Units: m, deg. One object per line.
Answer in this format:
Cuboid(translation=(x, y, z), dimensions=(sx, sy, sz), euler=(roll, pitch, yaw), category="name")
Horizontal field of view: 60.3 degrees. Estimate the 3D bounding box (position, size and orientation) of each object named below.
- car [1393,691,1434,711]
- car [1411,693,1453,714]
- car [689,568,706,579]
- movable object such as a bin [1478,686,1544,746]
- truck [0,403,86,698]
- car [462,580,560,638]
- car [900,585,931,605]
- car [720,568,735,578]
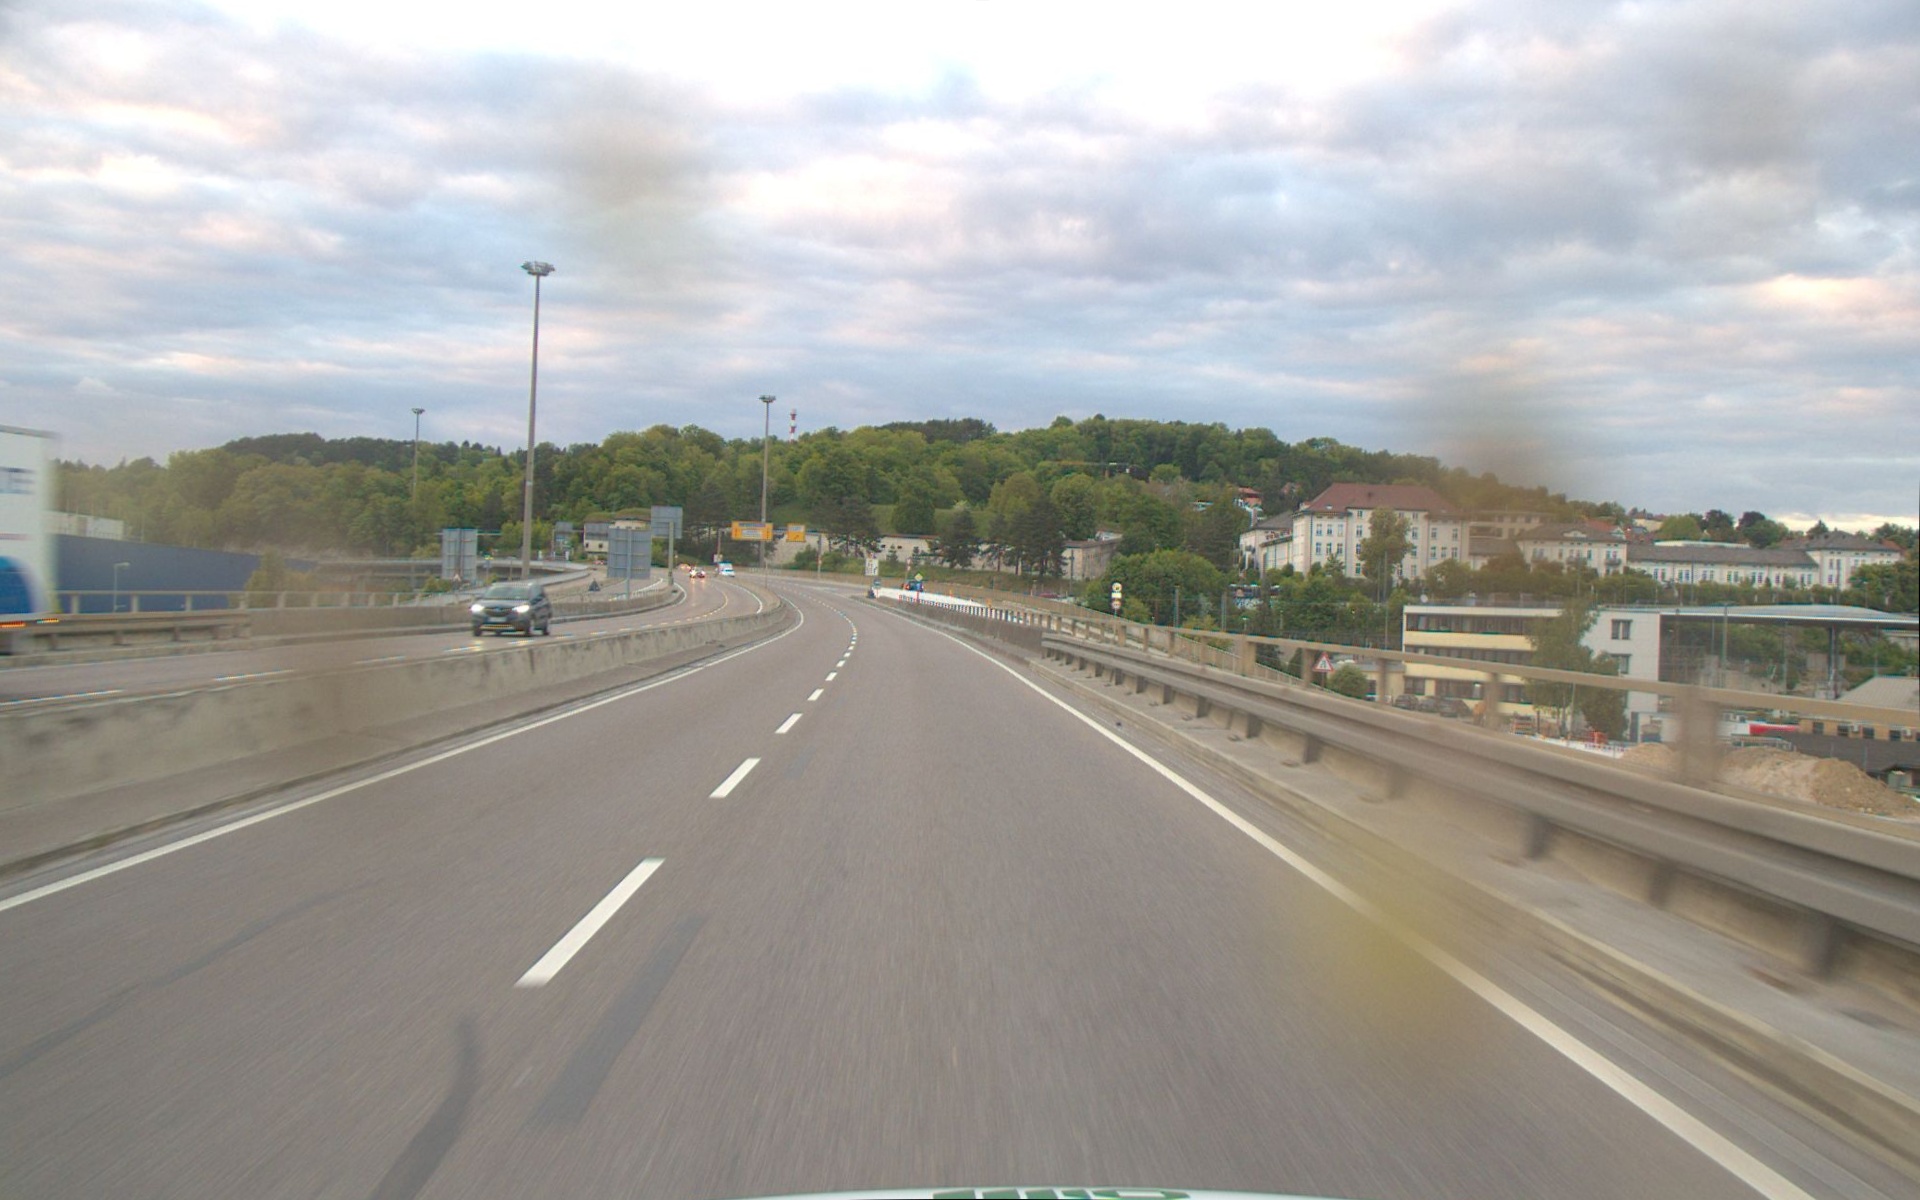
Cuboid(translation=(44.907, 10.030, 163.826), dimensions=(3.958, 1.592, 1.809), euler=(6, 2, -37), category="car")
Cuboid(translation=(45.857, 10.043, 160.727), dimensions=(3.958, 1.592, 1.809), euler=(6, 2, -37), category="car")
Cuboid(translation=(-36.161, -3.641, 227.815), dimensions=(1.799, 1.506, 4.269), euler=(1, 0, -15), category="car")
Cuboid(translation=(47.830, 10.047, 143.601), dimensions=(2.731, 4.382, 4.938), euler=(8, -1, -15), category="movable object such as a bin")
Cuboid(translation=(-12.141, -0.584, 16.878), dimensions=(2.483, 3.354, 7.445), euler=(1, 0, -1), category="truck")
Cuboid(translation=(-13.325, 0.258, 49.306), dimensions=(1.938, 1.634, 4.438), euler=(1, 0, -4), category="car")
Cuboid(translation=(-4.522, -0.522, 166.165), dimensions=(2.265, 1.794, 4.249), euler=(3, 1, -13), category="car")
Cuboid(translation=(-33.539, -3.917, 238.887), dimensions=(1.605, 1.412, 3.982), euler=(0, 2, -17), category="car")
